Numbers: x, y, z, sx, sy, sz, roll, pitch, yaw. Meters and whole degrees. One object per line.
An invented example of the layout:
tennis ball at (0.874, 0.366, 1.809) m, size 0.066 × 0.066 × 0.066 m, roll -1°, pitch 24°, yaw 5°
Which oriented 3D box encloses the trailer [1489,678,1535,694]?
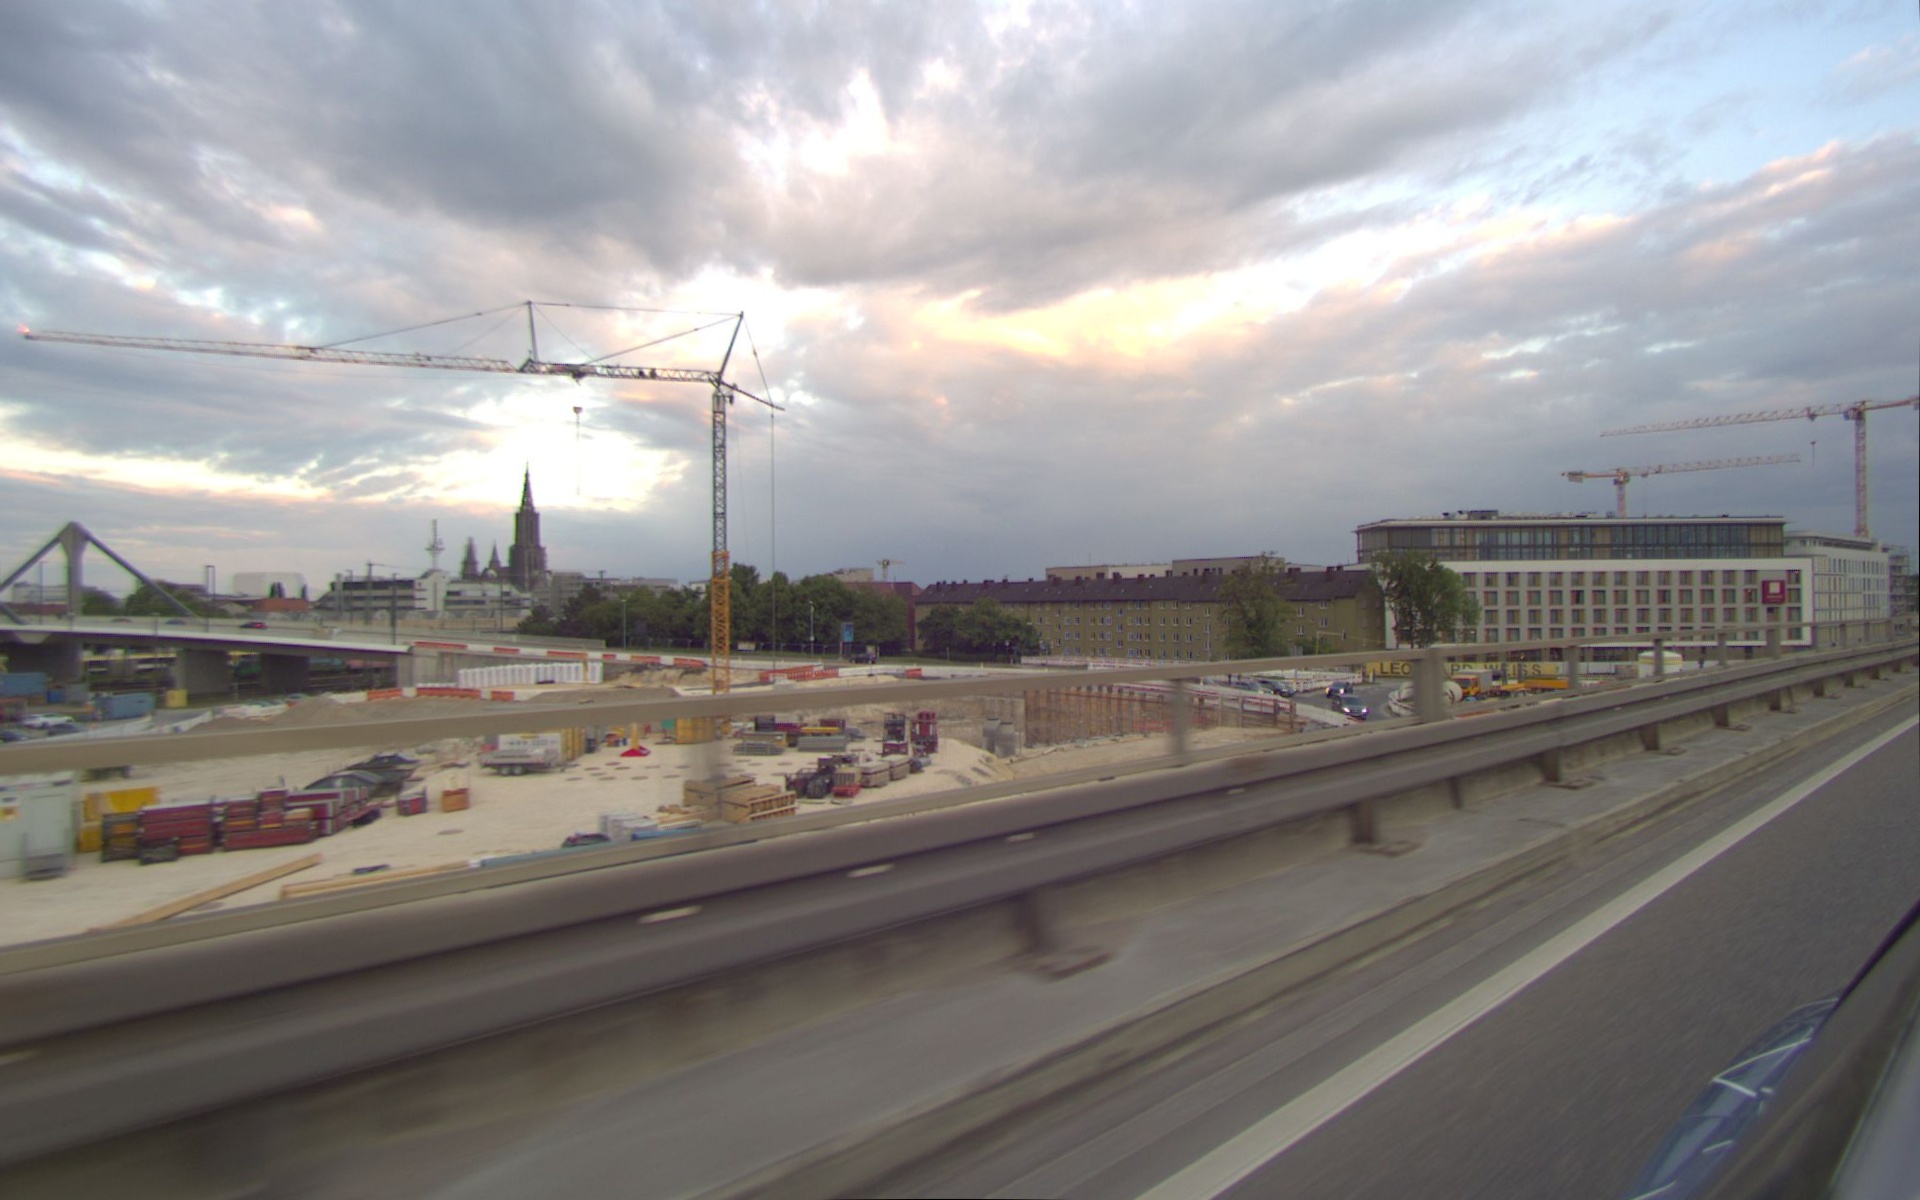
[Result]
trailer at (57.018, 8.895, 104.463) m, size 5.766 × 1.366 × 1.996 m, roll 1°, pitch -6°, yaw -39°

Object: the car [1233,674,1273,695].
car at (28.627, 8.233, 99.075) m, size 1.611 × 1.761 × 3.800 m, roll -1°, pitch -1°, yaw -25°

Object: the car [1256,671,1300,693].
car at (32.078, 8.227, 102.168) m, size 1.768 × 1.741 × 4.107 m, roll -3°, pitch 1°, yaw -29°

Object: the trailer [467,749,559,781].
trailer at (-23.561, 8.674, 53.474) m, size 4.163 × 1.257 × 1.787 m, roll -1°, pitch -2°, yaw -13°

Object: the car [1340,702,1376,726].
car at (33.200, 9.461, 84.530) m, size 1.969 × 1.903 × 5.069 m, roll -1°, pitch -5°, yaw 12°

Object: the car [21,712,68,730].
car at (-98.824, 13.045, 109.276) m, size 1.414 × 1.597 × 3.675 m, roll -5°, pitch -5°, yaw 7°

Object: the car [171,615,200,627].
car at (-131.503, 3.604, 171.875) m, size 3.940 × 1.761 × 1.769 m, roll 2°, pitch -2°, yaw 14°

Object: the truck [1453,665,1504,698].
truck at (51.210, 7.979, 99.825) m, size 7.215 × 2.987 × 2.158 m, roll 1°, pitch -4°, yaw -44°

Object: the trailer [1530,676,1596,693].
trailer at (62.895, 8.771, 105.584) m, size 5.829 × 1.365 × 2.003 m, roll 0°, pitch 0°, yaw 33°

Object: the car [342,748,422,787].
car at (-35.415, 10.246, 62.120) m, size 3.917 × 1.947 × 1.687 m, roll -3°, pitch -5°, yaw -13°

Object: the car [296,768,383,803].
car at (-33.649, 10.059, 54.964) m, size 3.718 × 1.461 × 1.530 m, roll -3°, pitch -5°, yaw -13°
